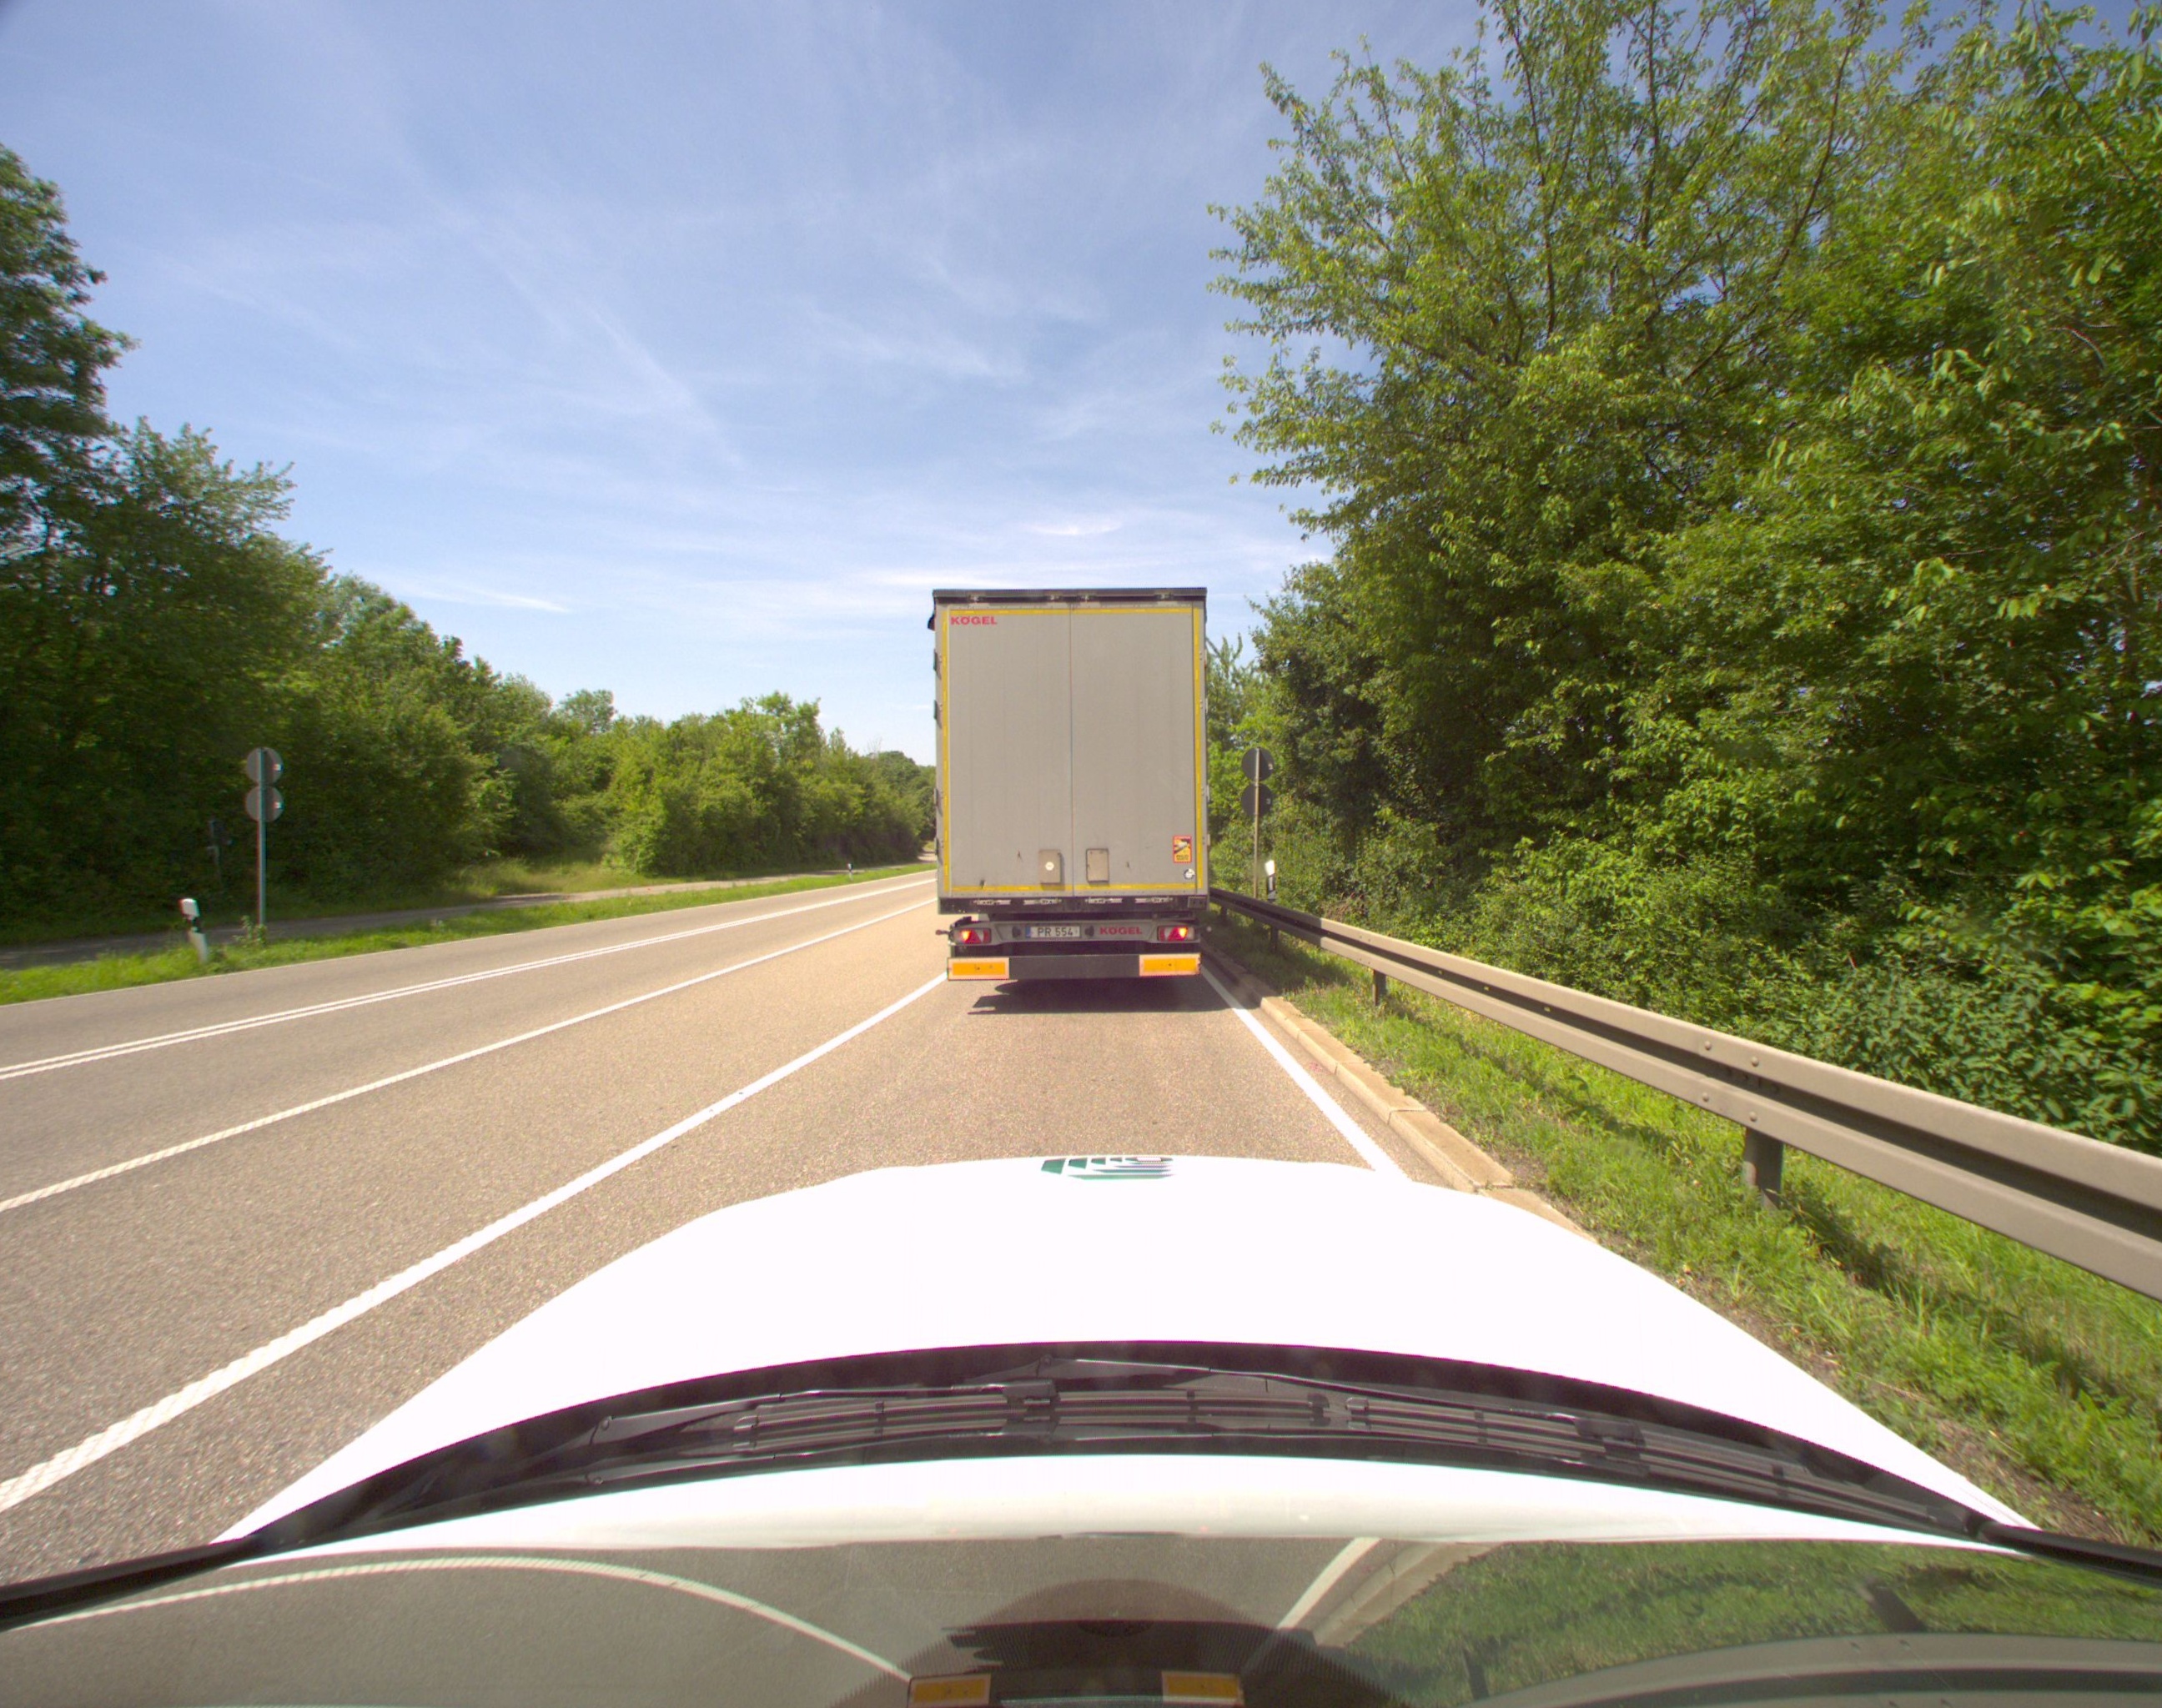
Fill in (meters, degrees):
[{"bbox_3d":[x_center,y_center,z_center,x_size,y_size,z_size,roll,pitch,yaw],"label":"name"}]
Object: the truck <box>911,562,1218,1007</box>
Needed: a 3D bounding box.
[{"bbox_3d":[-0.029,-0.657,13.409,2.747,4.029,11.926,-1,0,1],"label":"truck"}]
